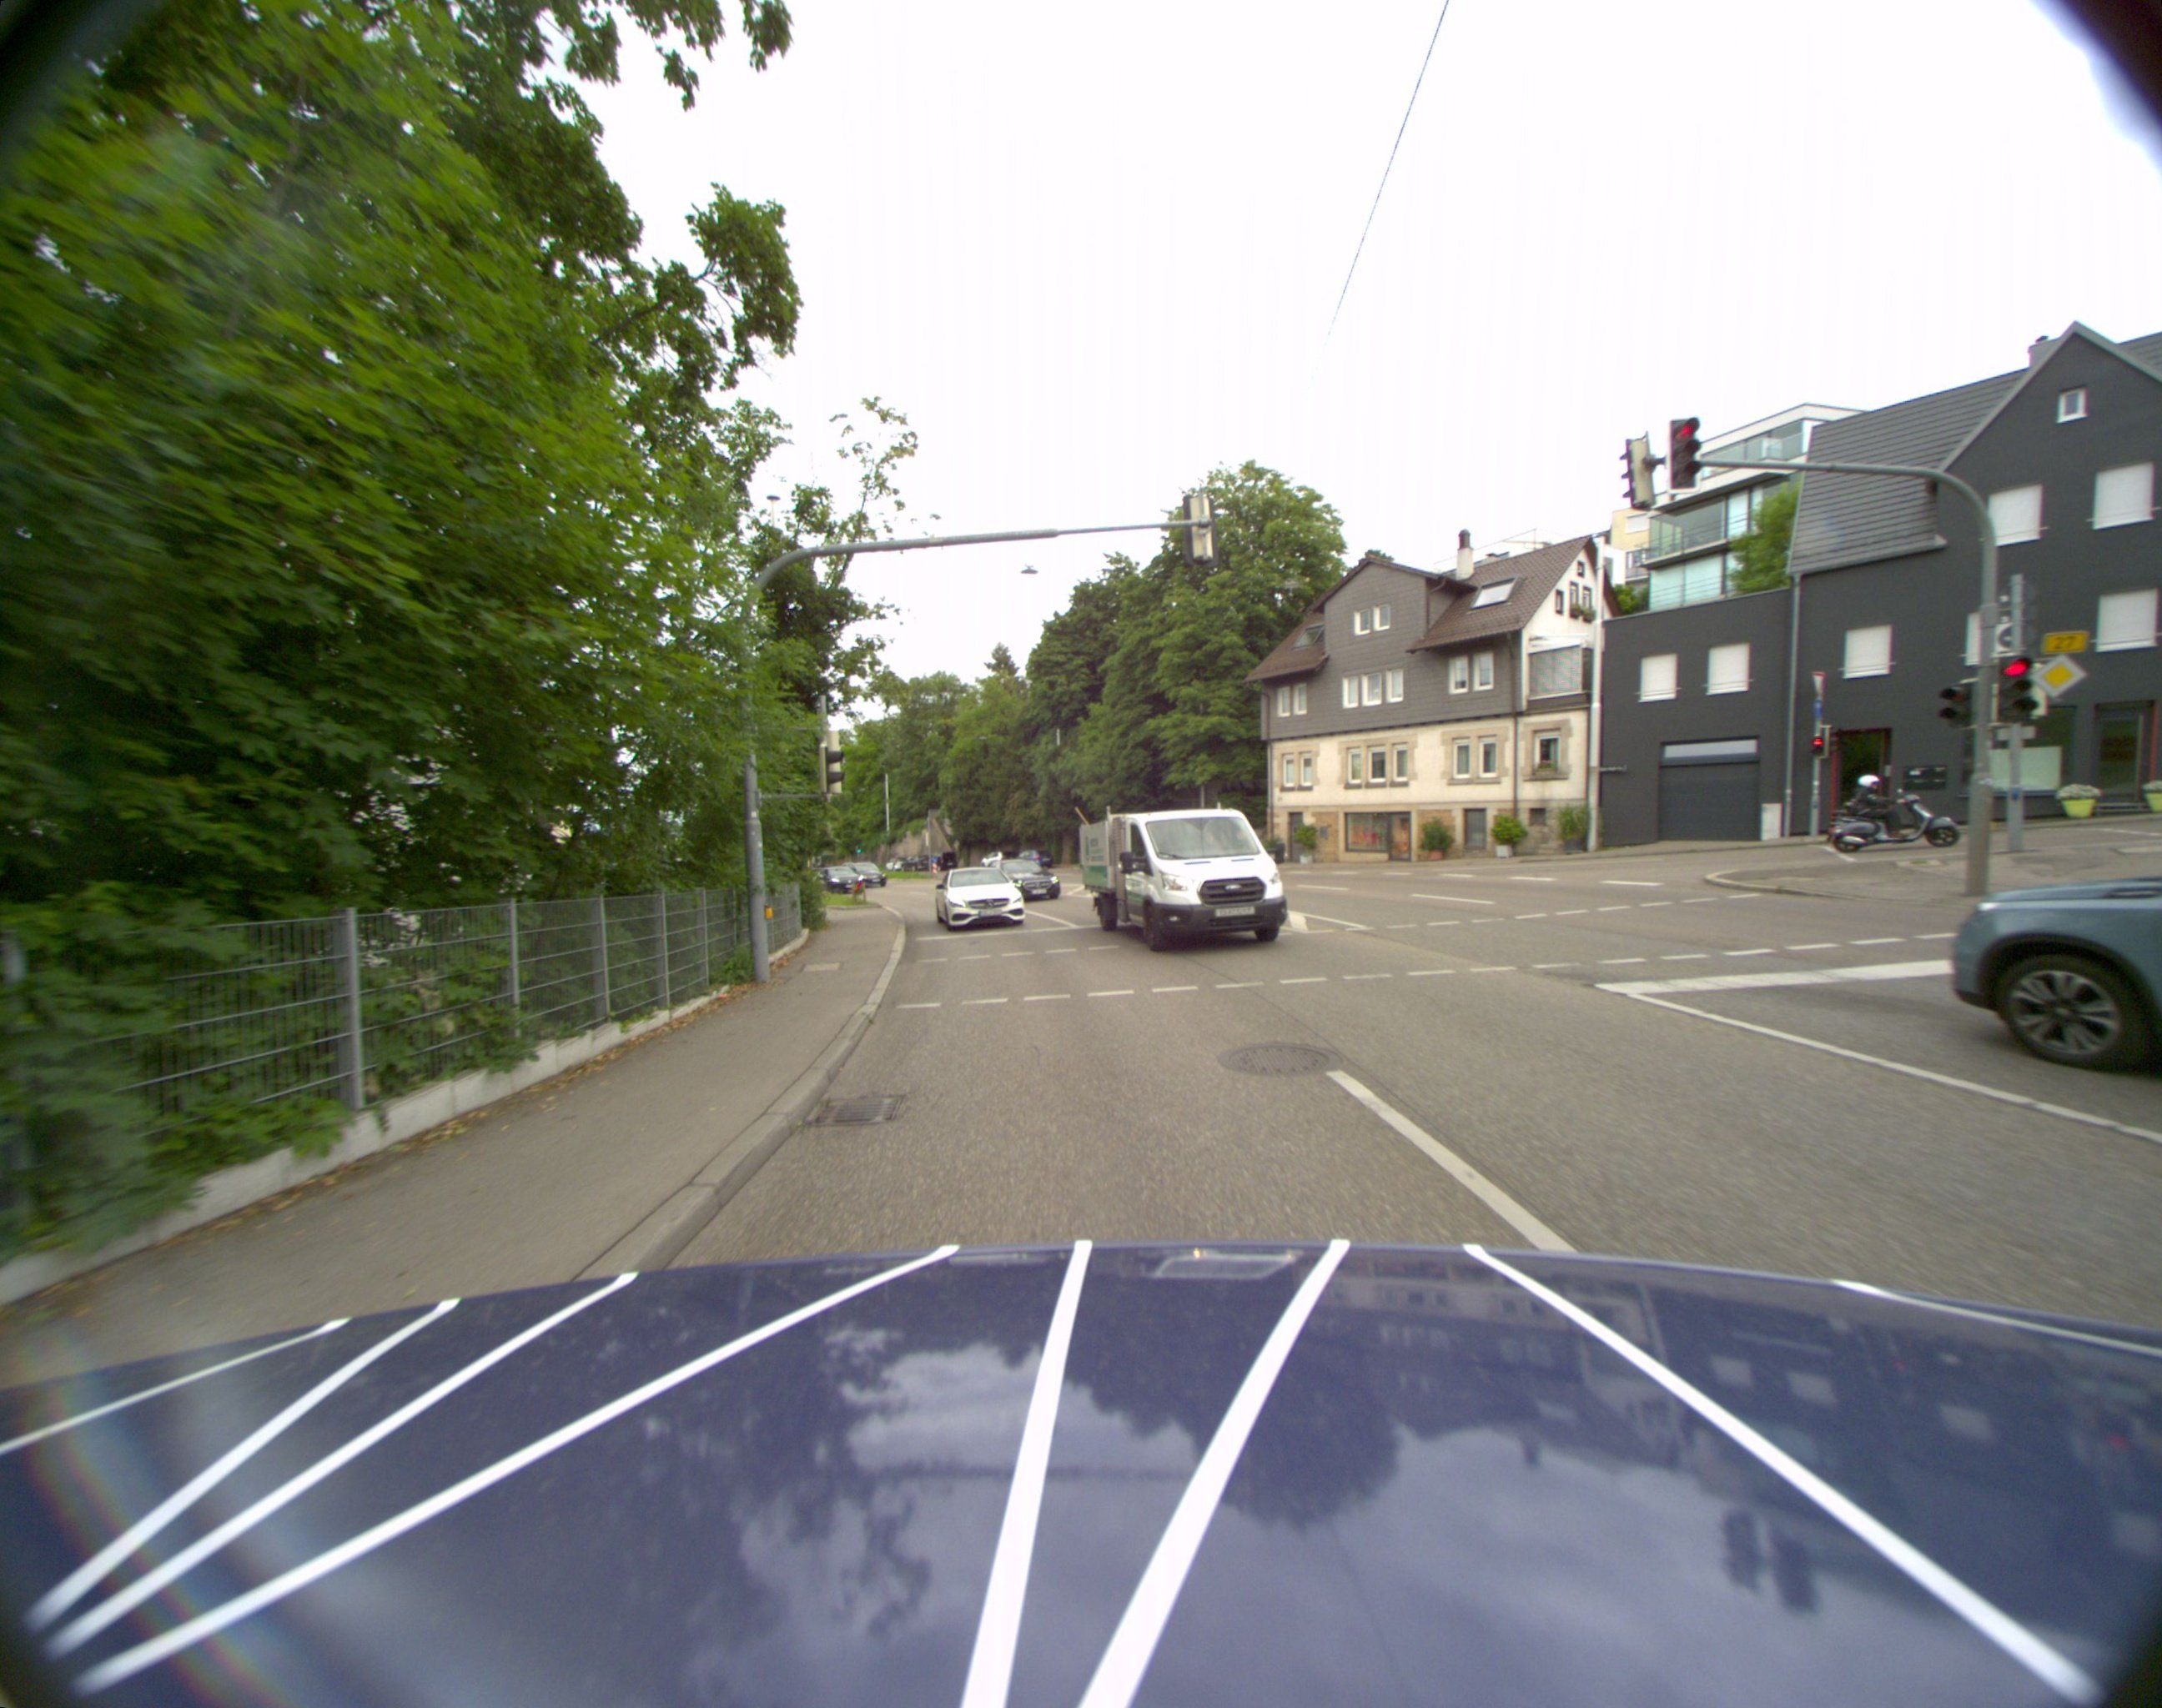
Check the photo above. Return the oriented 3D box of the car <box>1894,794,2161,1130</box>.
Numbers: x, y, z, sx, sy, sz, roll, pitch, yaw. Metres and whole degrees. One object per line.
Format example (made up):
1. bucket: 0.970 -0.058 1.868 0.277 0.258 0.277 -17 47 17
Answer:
1. car: 6.377 0.513 2.901 1.900 1.685 4.347 -4 0 2

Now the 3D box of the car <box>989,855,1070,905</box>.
1. car: -1.955 0.860 27.208 1.918 1.472 4.394 -5 1 -16

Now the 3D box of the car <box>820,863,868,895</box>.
1. car: -13.359 1.378 42.631 1.781 1.533 3.992 -6 1 -27

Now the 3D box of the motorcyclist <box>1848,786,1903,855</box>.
1. motorcyclist: 17.037 -0.713 16.292 0.686 1.411 0.721 -5 2 -39

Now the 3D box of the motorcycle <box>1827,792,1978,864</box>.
1. motorcycle: 17.228 -0.516 15.982 0.831 1.291 2.041 -7 1 -39

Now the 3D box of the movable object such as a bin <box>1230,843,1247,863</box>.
1. movable object such as a bin: 8.408 -0.076 40.564 0.540 1.014 0.645 -5 4 -25

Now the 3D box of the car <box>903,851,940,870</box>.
1. car: -16.161 0.679 76.860 1.978 1.647 4.521 -6 2 -34

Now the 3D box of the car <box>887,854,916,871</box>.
1. car: -19.331 0.926 81.708 1.788 1.490 3.090 -6 2 -39

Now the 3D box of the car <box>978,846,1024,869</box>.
1. car: -6.603 0.287 62.534 1.788 1.619 4.160 -6 2 -36

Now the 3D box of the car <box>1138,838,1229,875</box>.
1. car: 5.031 0.150 37.793 1.892 1.559 4.378 -5 1 -37

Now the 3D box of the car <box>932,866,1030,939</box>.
1. car: -2.588 1.093 18.795 1.819 1.391 3.995 -5 1 -15

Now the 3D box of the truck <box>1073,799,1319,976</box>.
1. truck: 1.612 0.469 13.724 2.082 2.308 6.325 -5 1 -13

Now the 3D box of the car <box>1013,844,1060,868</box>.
1. car: -3.400 0.187 57.300 1.719 1.520 4.292 -6 1 -30

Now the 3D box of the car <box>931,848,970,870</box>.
1. car: -12.493 0.462 72.567 1.788 1.832 4.477 -6 2 -35
